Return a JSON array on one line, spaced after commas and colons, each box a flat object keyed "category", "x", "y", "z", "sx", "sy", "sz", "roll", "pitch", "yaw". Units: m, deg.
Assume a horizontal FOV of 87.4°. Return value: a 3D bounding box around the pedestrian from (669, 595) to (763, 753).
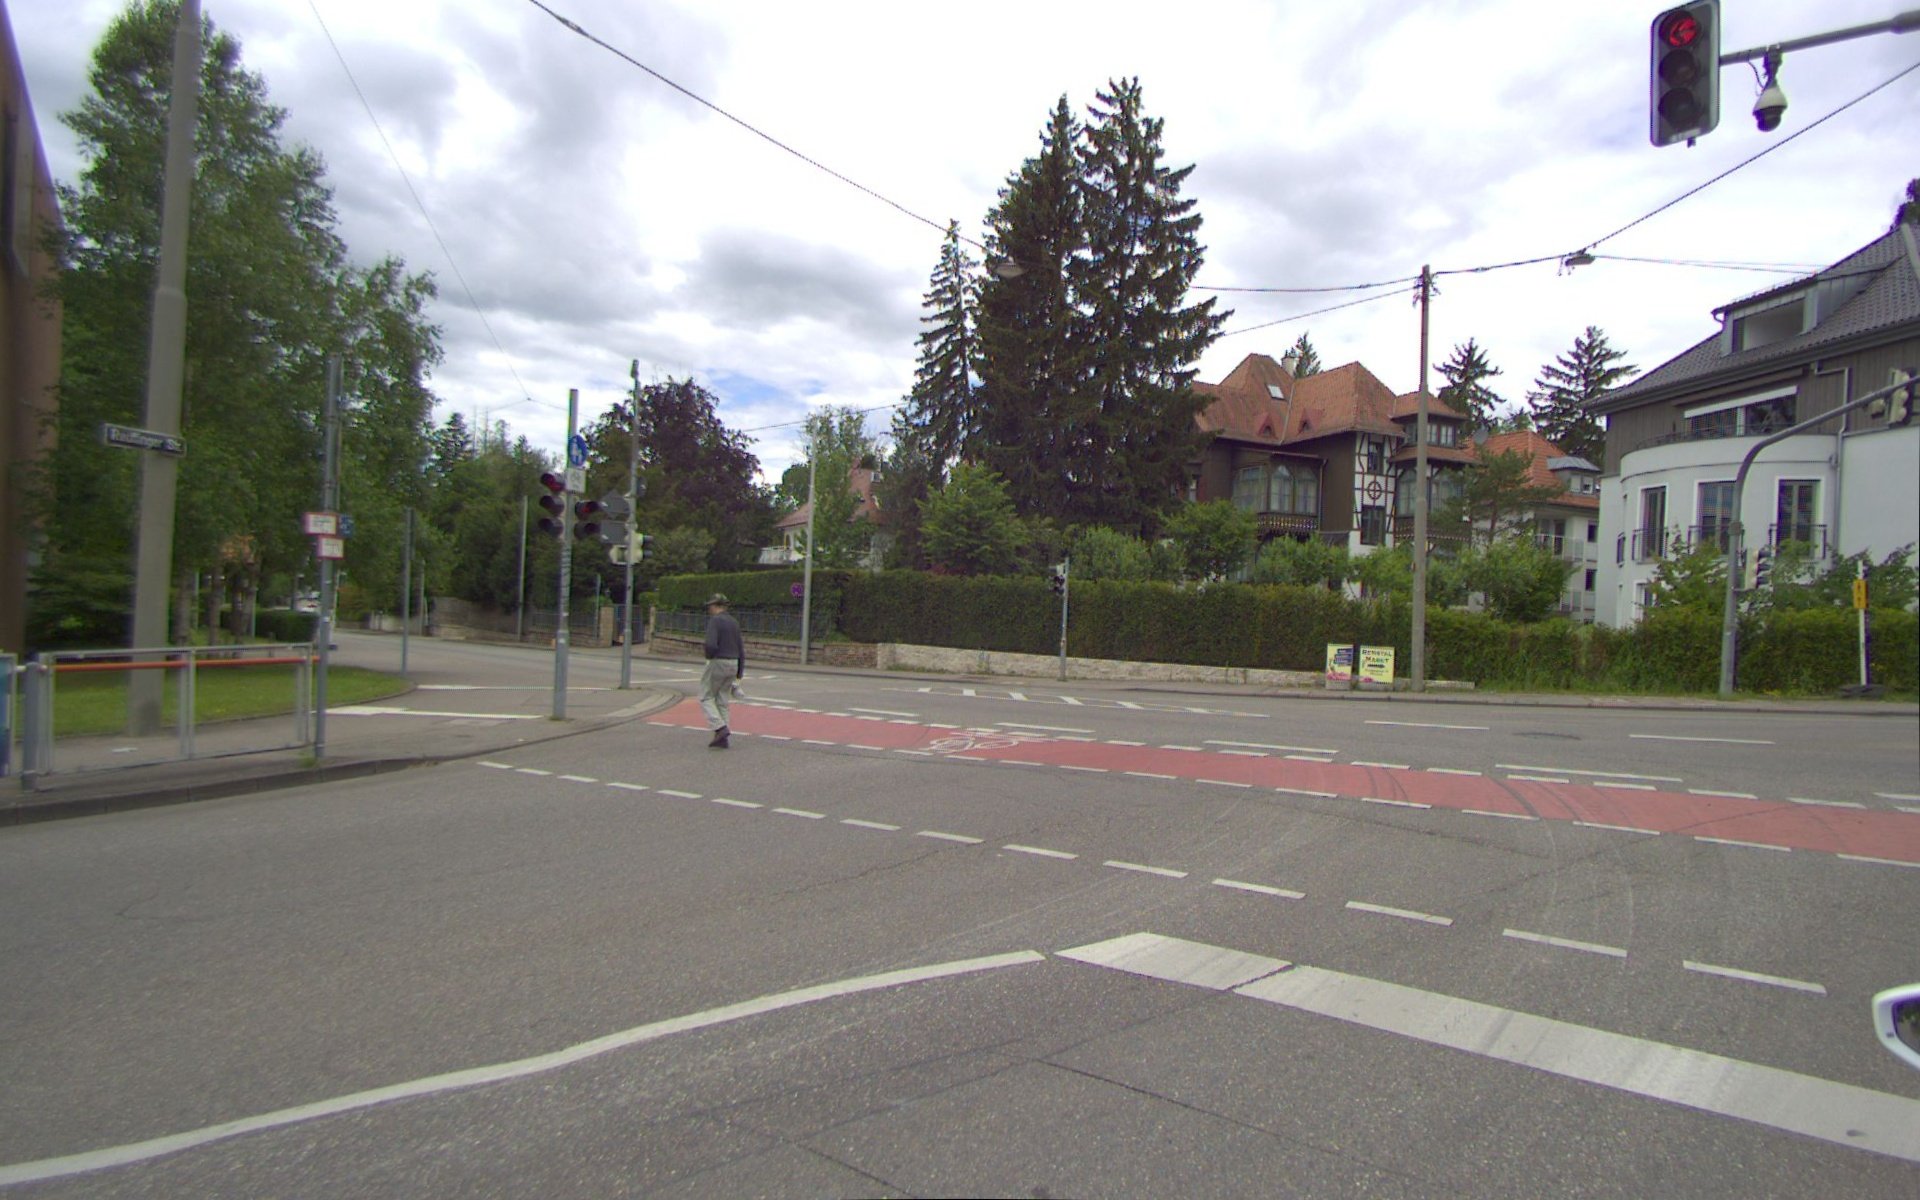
[{"category": "pedestrian", "x": -2.653, "y": 0.780, "z": 10.954, "sx": 0.726, "sy": 1.655, "sz": 0.683, "roll": -1, "pitch": -1, "yaw": 22}]
